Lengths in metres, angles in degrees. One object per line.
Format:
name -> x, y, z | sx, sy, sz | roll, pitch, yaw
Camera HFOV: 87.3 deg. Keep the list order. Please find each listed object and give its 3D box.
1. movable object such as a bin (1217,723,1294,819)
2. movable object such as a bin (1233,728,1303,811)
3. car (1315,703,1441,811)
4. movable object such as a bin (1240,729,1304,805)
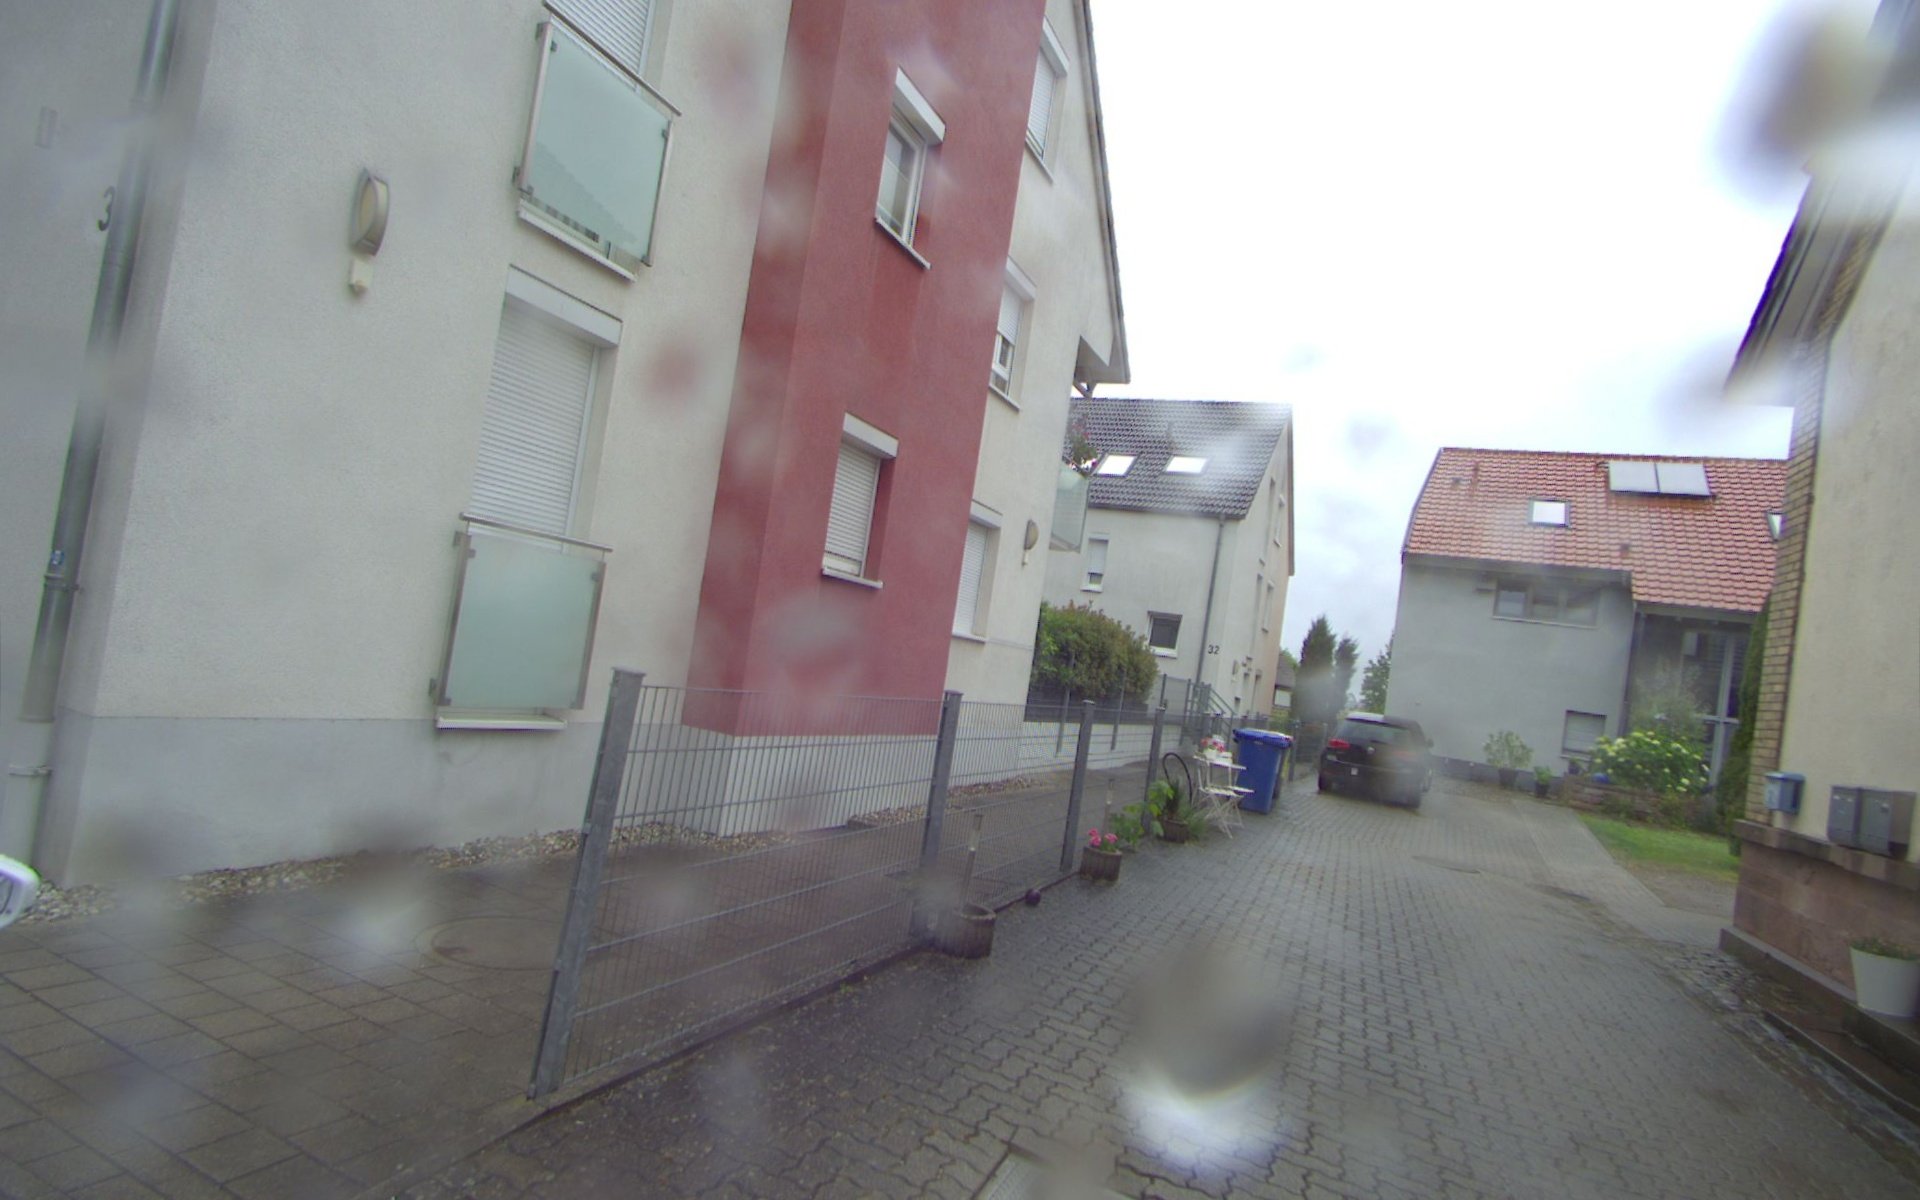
movable object such as a bin -> 4.059, 2.324, 13.780 | 0.789, 1.146, 0.729 | 7, -4, 25
movable object such as a bin -> 4.533, 2.479, 14.778 | 0.789, 1.049, 0.729 | 7, -4, 25
car -> 7.892, 2.839, 18.825 | 1.667, 1.480, 3.567 | 6, 0, 29
movable object such as a bin -> 4.973, 2.647, 16.011 | 0.789, 1.049, 0.729 | 7, -4, 25
